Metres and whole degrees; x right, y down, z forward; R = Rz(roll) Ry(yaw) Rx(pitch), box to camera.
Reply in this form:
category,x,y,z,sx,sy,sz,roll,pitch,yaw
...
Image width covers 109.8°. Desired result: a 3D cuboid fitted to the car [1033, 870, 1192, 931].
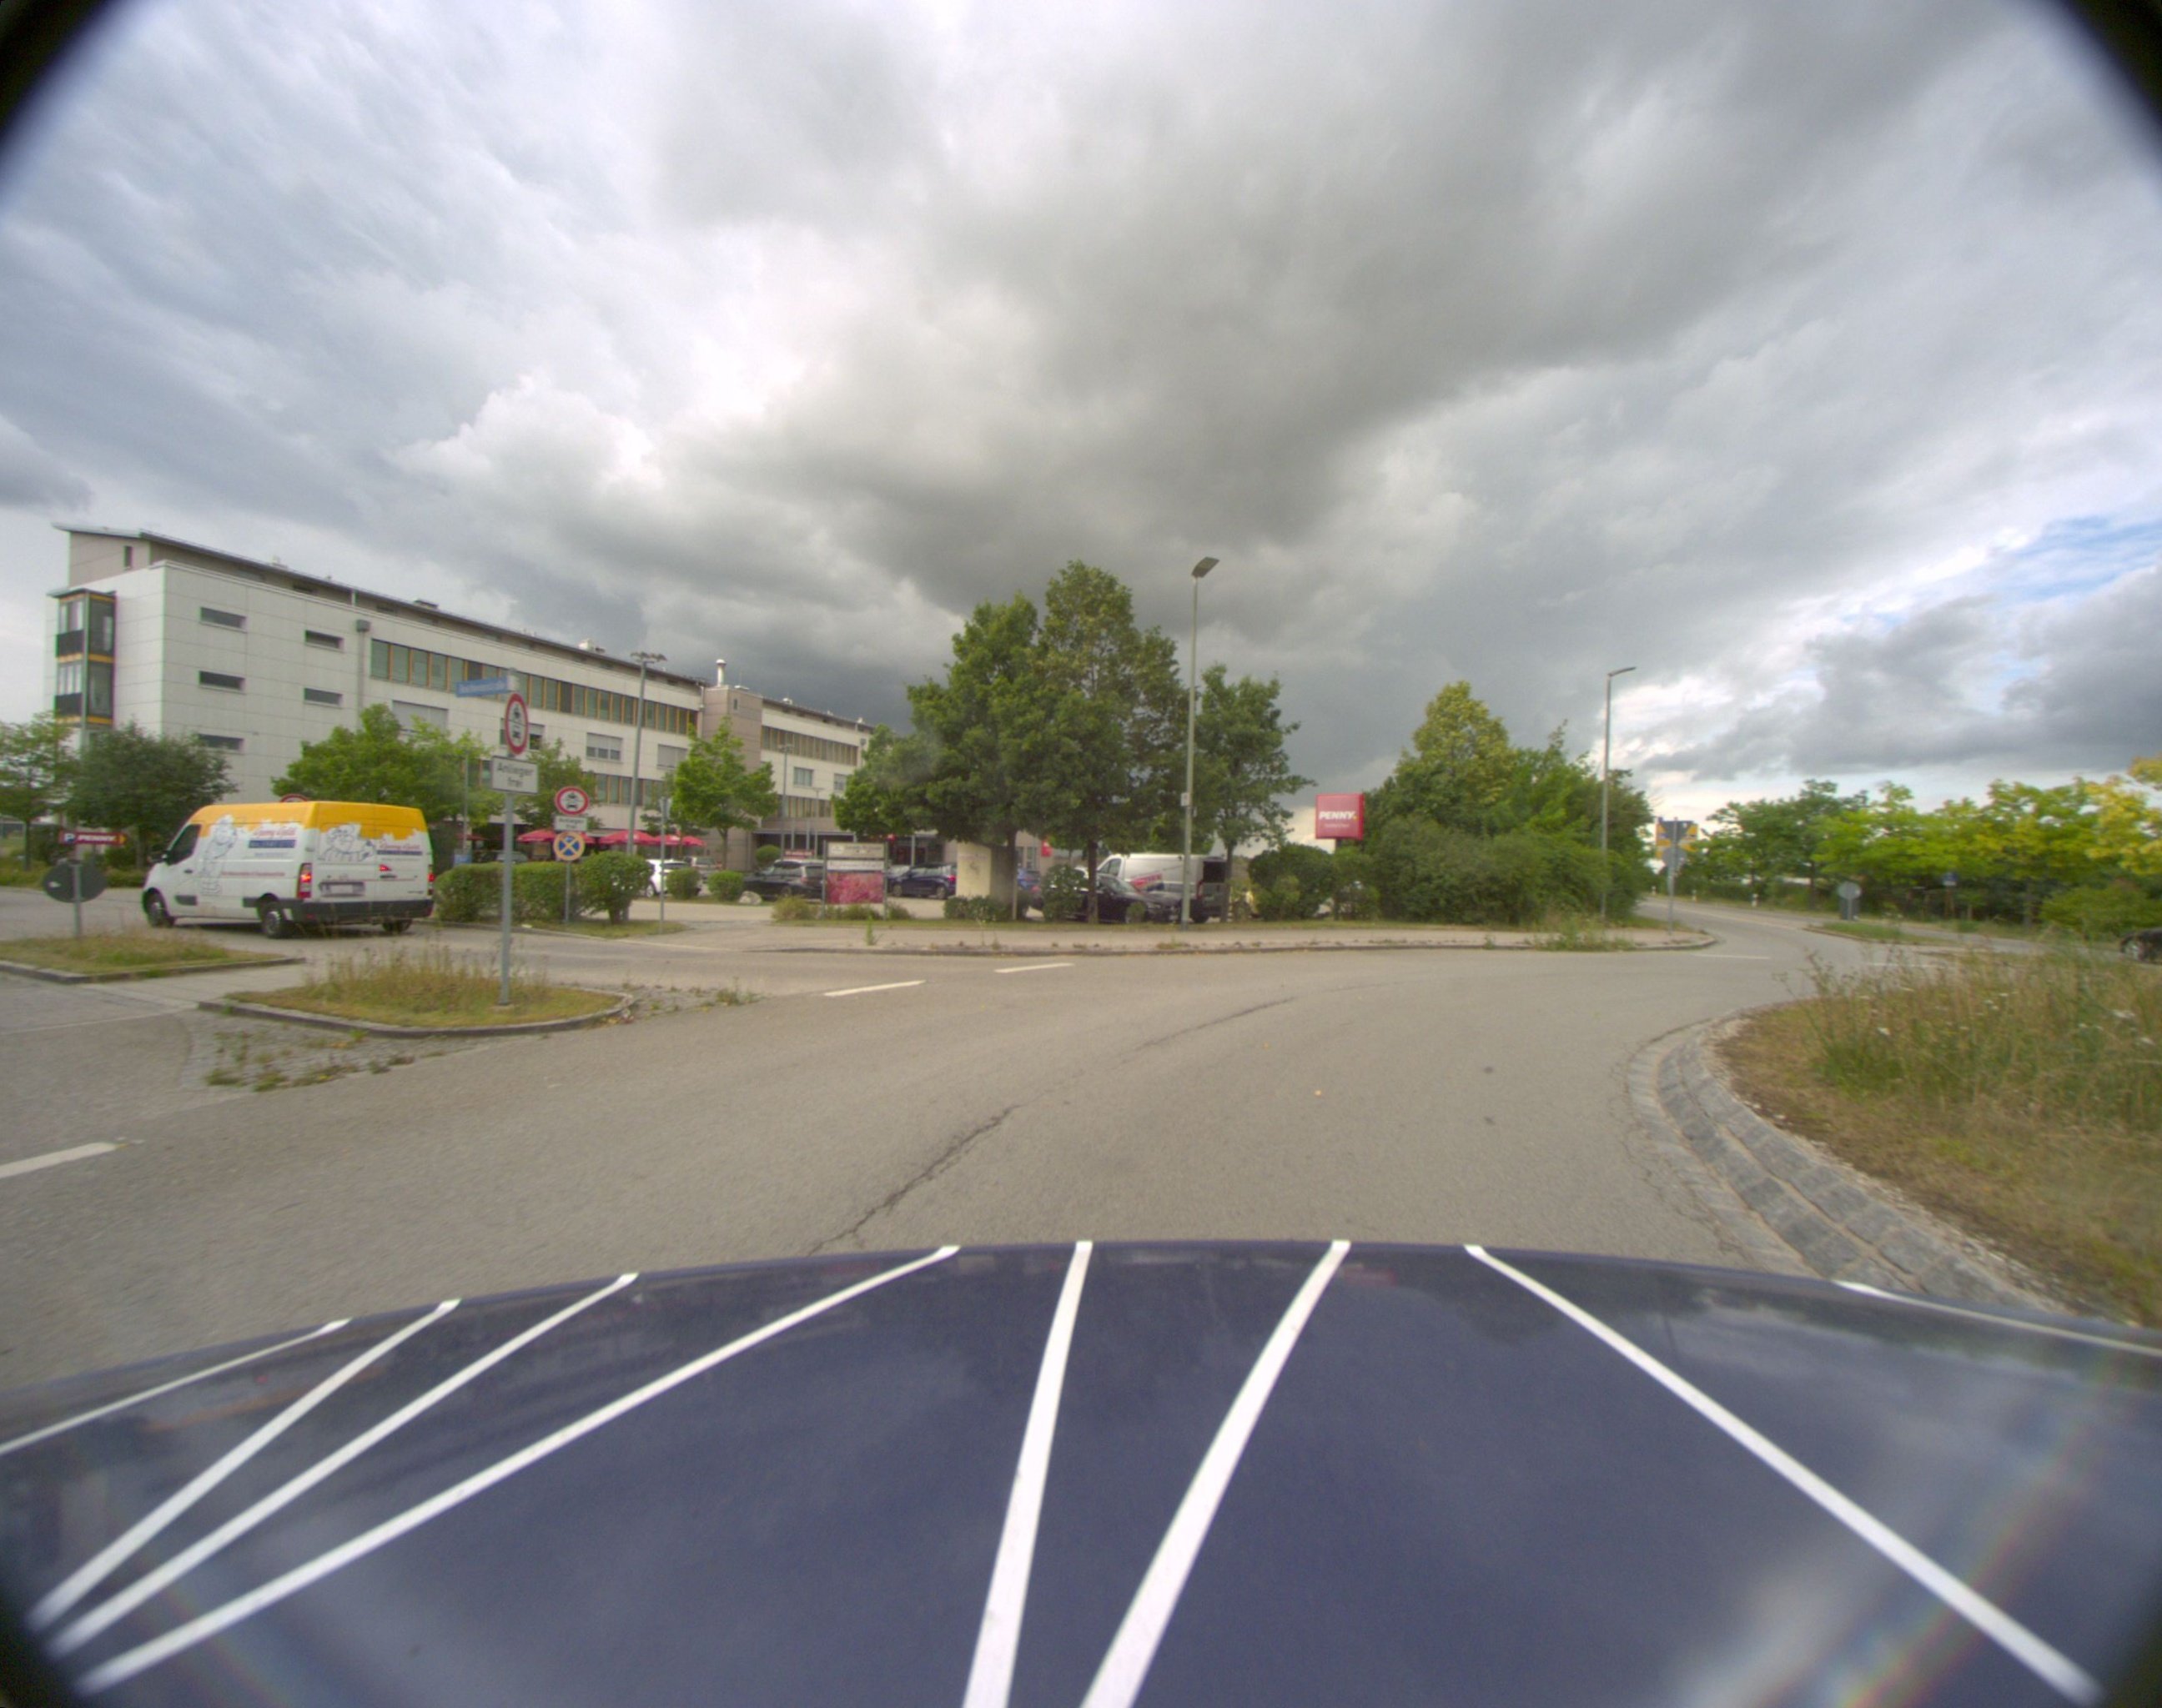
category,x,y,z,sx,sy,sz,roll,pitch,yaw
car,0.886,1.322,22.556,4.403,1.484,1.767,2,-1,35

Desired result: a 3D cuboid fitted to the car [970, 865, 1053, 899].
category,x,y,z,sx,sy,sz,roll,pitch,yaw
car,-3.424,1.335,37.213,3.781,1.495,1.663,1,-1,34

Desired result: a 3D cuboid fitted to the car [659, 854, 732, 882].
category,x,y,z,sx,sy,sz,roll,pitch,yaw
car,-22.057,0.789,43.475,3.988,1.448,1.825,1,0,31

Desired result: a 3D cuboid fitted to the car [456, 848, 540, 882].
category,x,y,z,sx,sy,sz,roll,pitch,yaw
car,-27.833,0.513,36.246,3.988,1.448,1.825,1,0,31

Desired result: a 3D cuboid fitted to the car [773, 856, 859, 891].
category,x,y,z,sx,sy,sz,roll,pitch,yaw
car,-12.066,0.929,34.548,4.076,1.501,1.879,-2,-2,40

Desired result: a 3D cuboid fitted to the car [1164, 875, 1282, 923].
category,x,y,z,sx,sy,sz,roll,pitch,yaw
car,5.274,1.635,28.391,3.926,1.547,1.767,1,-1,35

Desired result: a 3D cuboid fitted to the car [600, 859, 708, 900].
category,x,y,z,sx,sy,sz,roll,pitch,yaw
car,-16.289,0.942,28.972,3.989,1.448,1.825,0,-1,31

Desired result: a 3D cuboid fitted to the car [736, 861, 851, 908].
category,x,y,z,sx,sy,sz,roll,pitch,yaw
car,-10.240,1.025,26.970,3.988,1.448,1.825,1,0,34

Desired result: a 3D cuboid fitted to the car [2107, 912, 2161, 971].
category,x,y,z,sx,sy,sz,roll,pitch,yaw
car,26.900,2.168,17.458,1.931,1.339,4.478,1,0,23

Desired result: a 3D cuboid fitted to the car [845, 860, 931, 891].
category,x,y,z,sx,sy,sz,roll,pitch,yaw
car,-10.090,1.135,39.662,4.078,1.529,1.783,-1,-2,22

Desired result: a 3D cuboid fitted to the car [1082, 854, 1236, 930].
category,x,y,z,sx,sy,sz,roll,pitch,yaw
car,2.499,1.166,24.759,4.403,2.146,2.162,2,-1,35

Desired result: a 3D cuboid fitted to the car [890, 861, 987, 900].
category,x,y,z,sx,sy,sz,roll,pitch,yaw
car,-6.238,1.135,33.053,3.988,1.533,1.825,1,0,34

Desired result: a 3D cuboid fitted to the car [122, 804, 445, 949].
category,x,y,z,sx,sy,sz,roll,pitch,yaw
car,-15.479,0.352,14.774,5.429,2.437,2.173,1,-1,19
